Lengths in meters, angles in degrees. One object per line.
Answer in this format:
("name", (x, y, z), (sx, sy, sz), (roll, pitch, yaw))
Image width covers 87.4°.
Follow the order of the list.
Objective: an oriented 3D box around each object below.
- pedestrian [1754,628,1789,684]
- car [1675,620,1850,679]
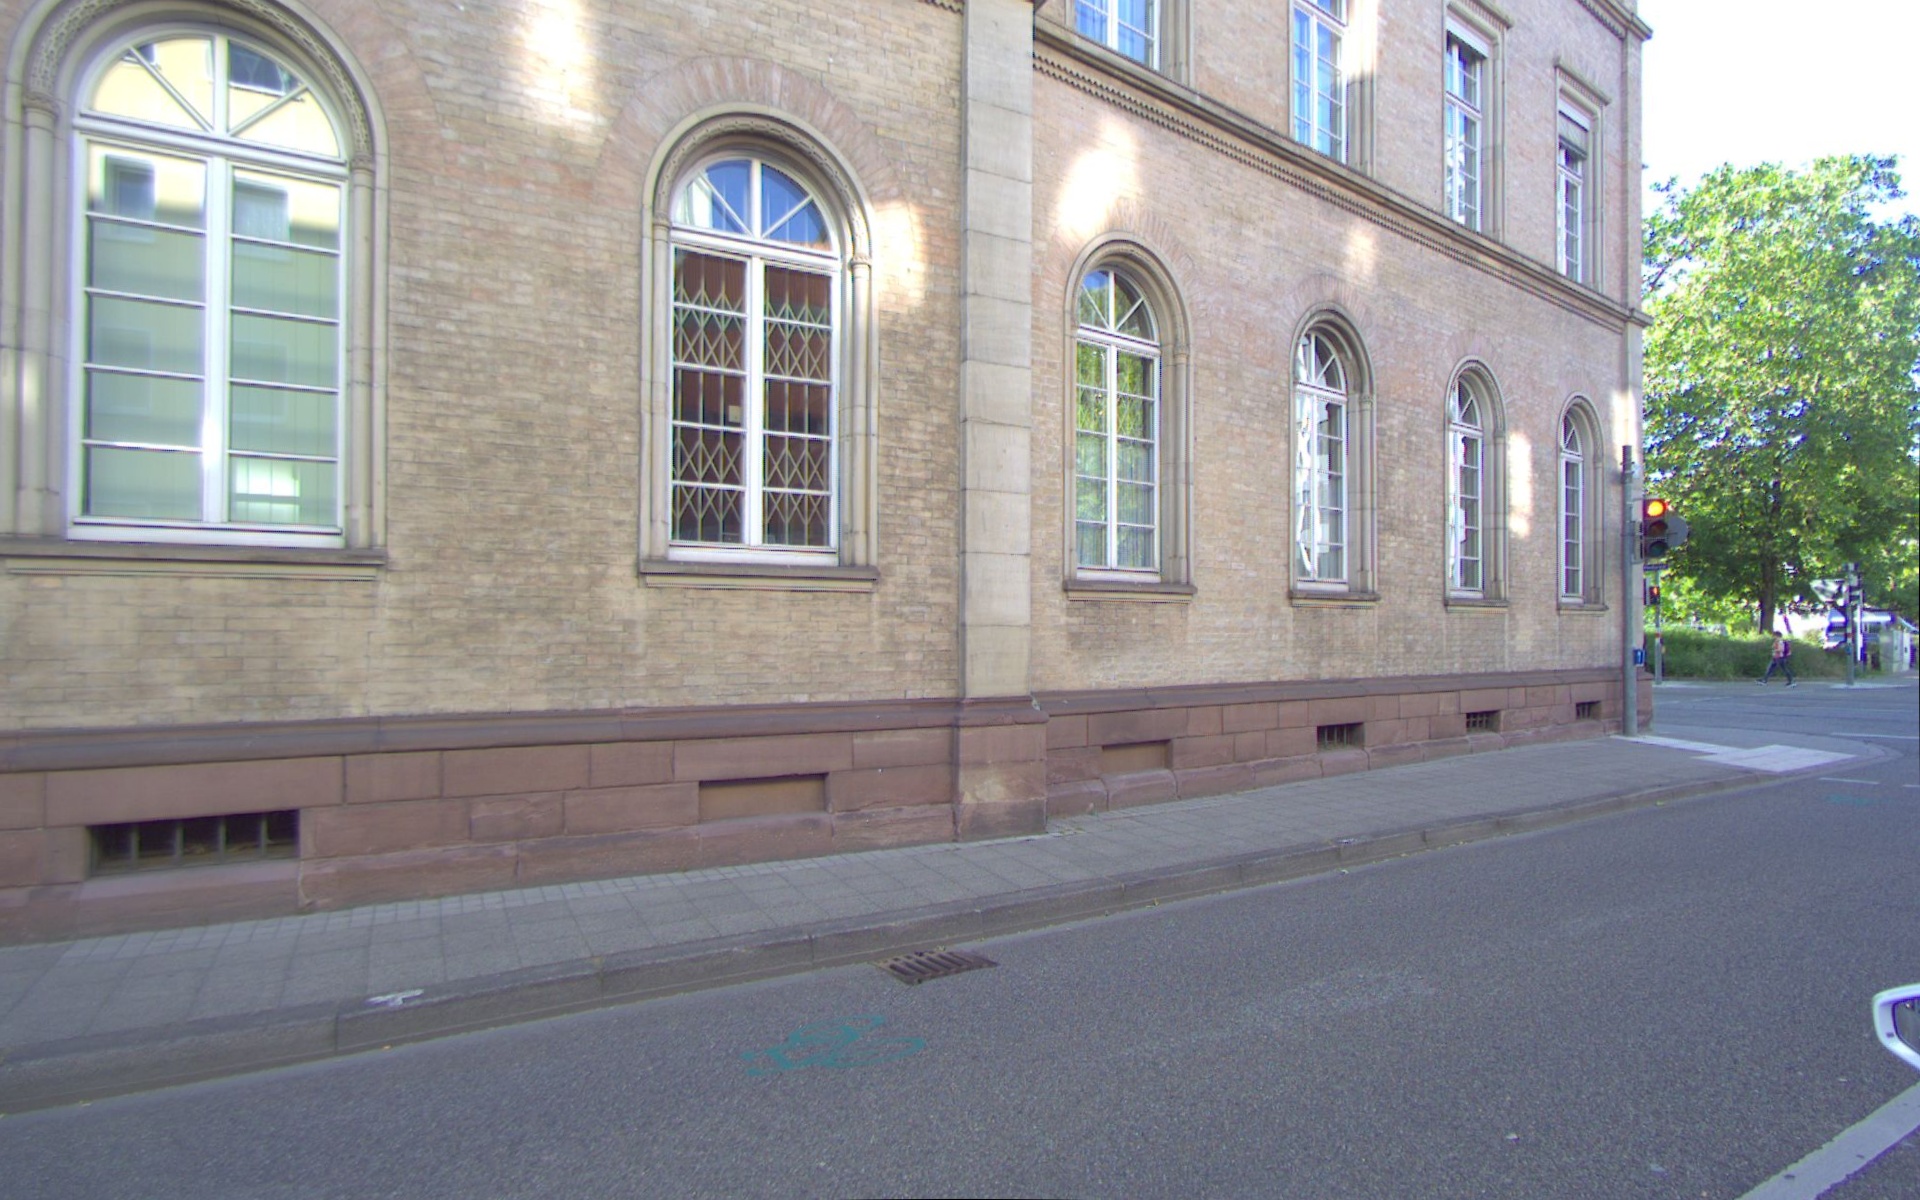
("pedestrian", (23.692, 1.626, 29.333), (0.701, 1.620, 0.616), (-1, -1, 30))
("car", (26.341, 1.568, 33.103), (1.888, 1.801, 4.193), (1, -2, -37))
